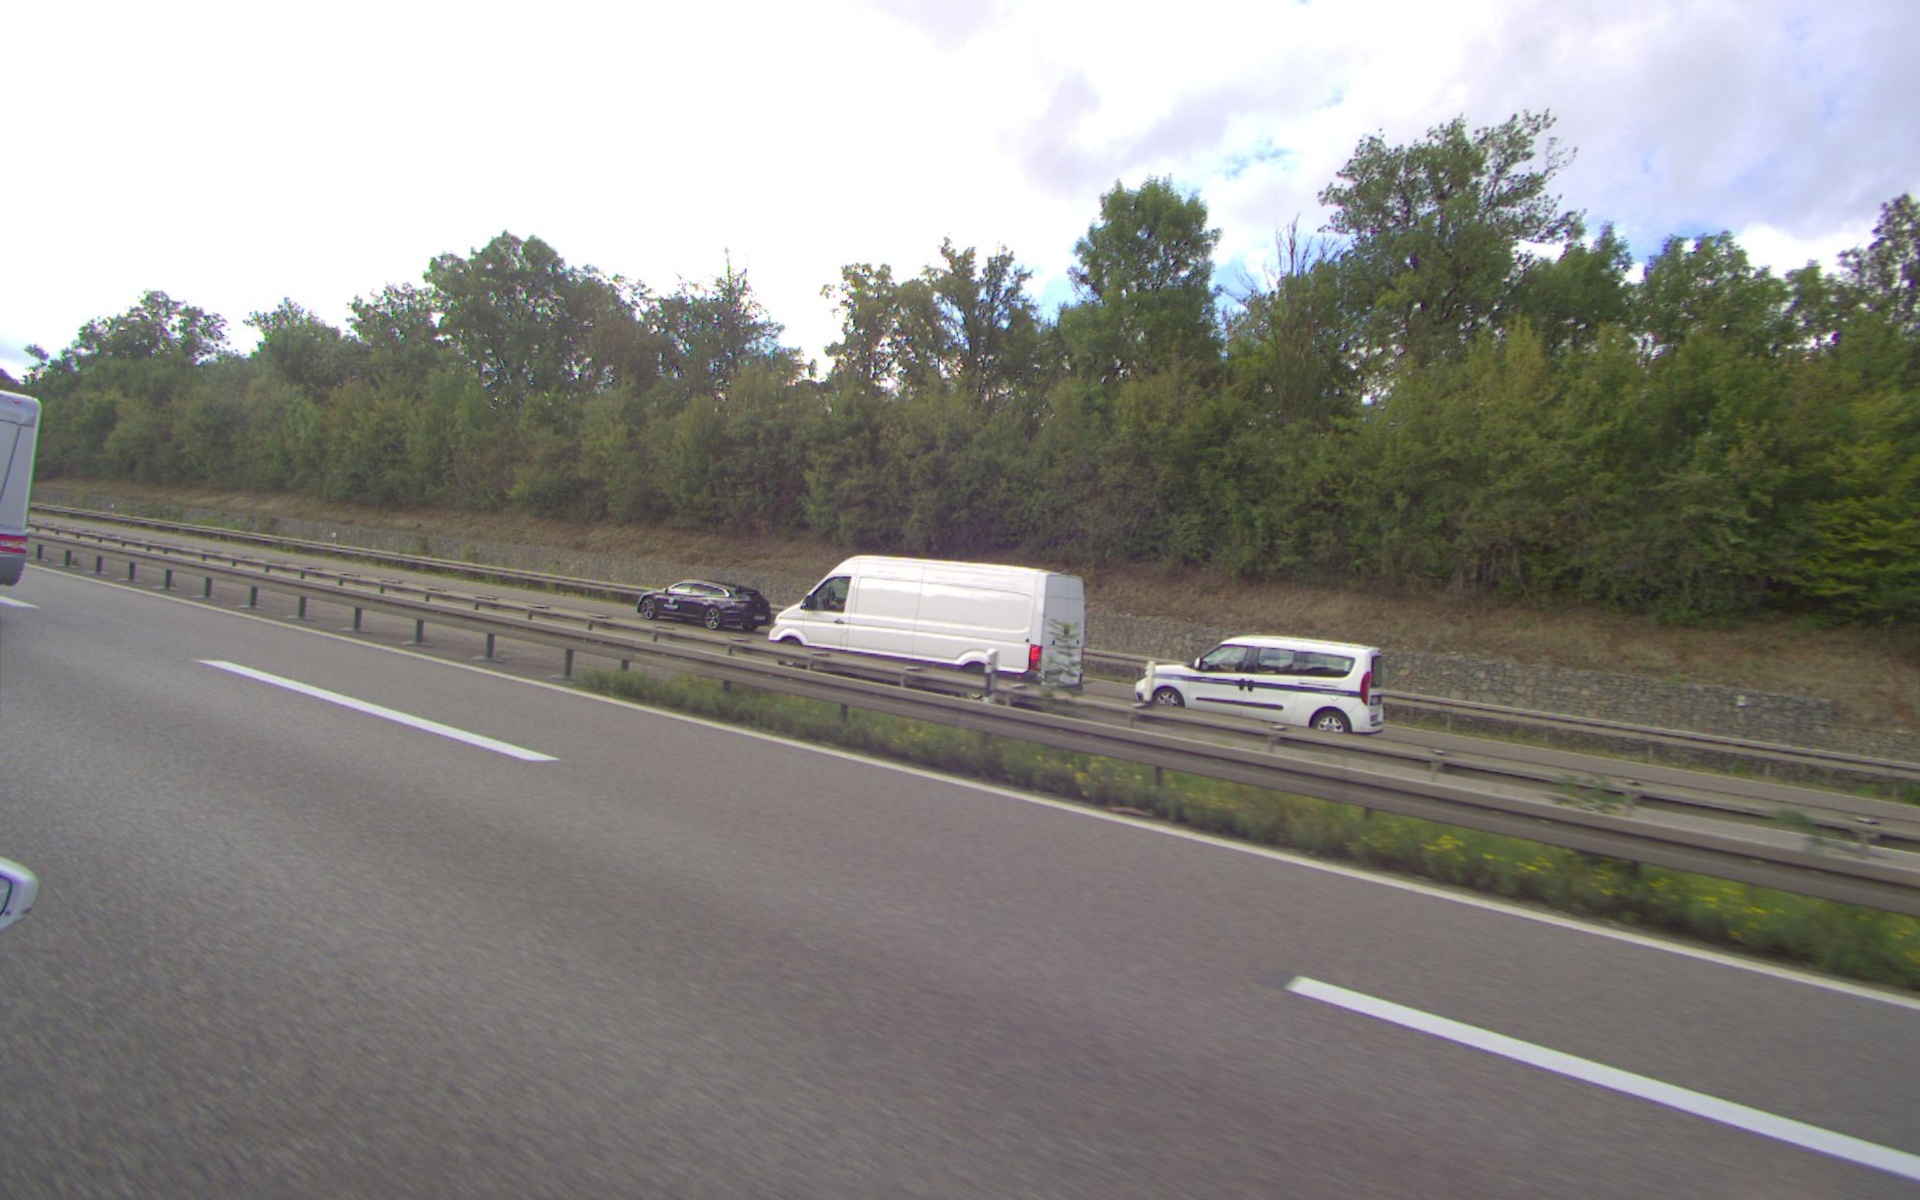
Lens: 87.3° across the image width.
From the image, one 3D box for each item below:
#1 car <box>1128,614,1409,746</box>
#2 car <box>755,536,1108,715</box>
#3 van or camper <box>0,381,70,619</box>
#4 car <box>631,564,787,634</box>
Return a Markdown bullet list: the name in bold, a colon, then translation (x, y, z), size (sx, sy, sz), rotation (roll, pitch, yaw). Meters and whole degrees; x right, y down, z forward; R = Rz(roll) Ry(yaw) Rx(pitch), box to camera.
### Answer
- **car**: translation (5.853, 1.474, 19.282), size (4.685, 1.773, 1.846), rotation (7, -1, 32)
- **car**: translation (-0.710, 0.387, 19.675), size (6.630, 2.586, 2.072), rotation (7, 1, 32)
- **van or camper**: translation (-14.860, -1.623, 13.211), size (7.534, 2.754, 2.473), rotation (7, -1, 32)
- **car**: translation (-7.874, -0.039, 31.438), size (4.684, 1.623, 1.844), rotation (7, 2, 31)
